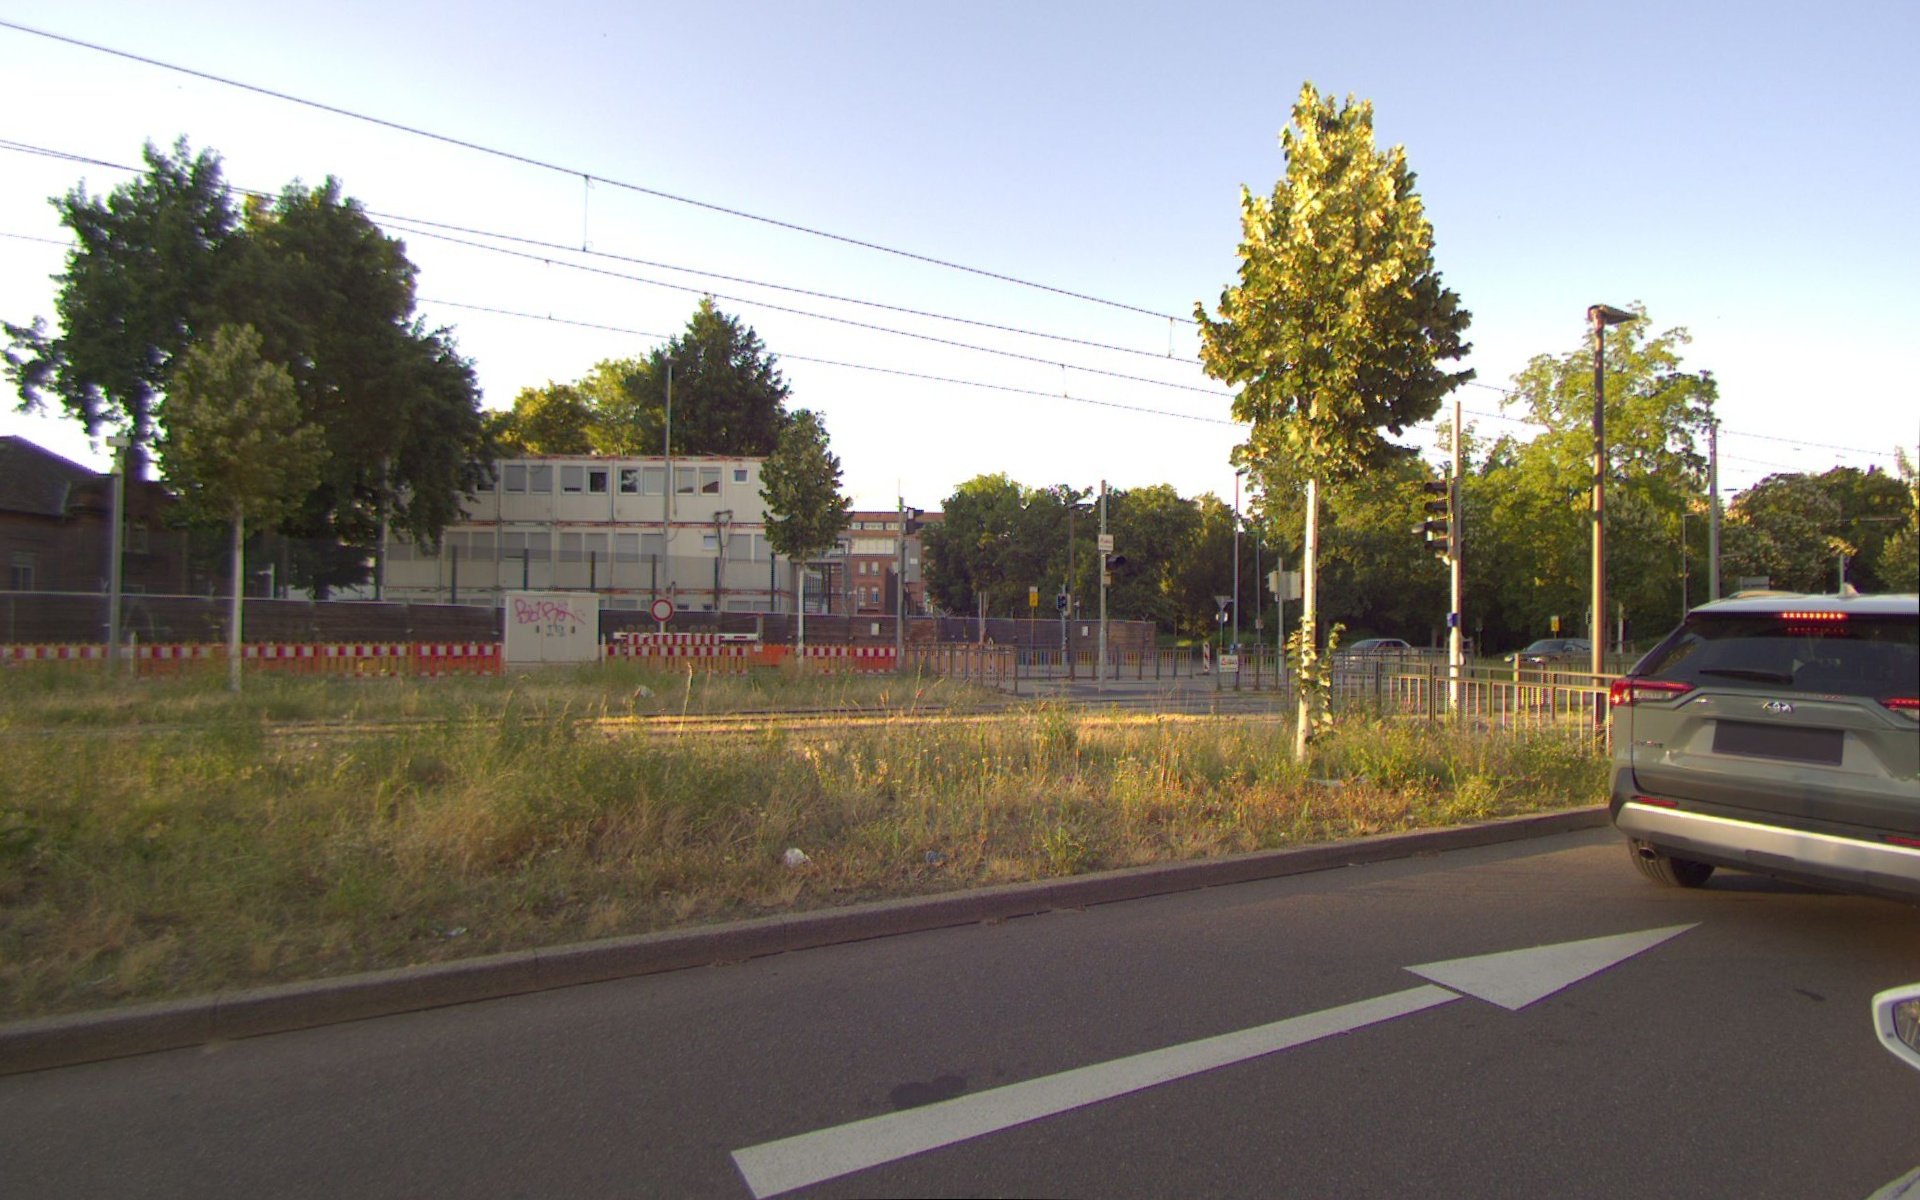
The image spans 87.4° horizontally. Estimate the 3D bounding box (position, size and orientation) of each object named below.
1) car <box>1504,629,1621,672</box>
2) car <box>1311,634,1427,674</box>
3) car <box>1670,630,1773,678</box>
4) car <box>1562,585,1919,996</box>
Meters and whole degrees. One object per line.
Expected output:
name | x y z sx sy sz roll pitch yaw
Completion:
car | 23.827 1.964 39.693 4.466 1.501 1.985 0 0 -28
car | 17.079 2.226 41.900 4.459 1.501 1.988 0 0 -24
car | 37.821 2.625 49.917 4.681 2.197 1.989 0 0 -22
car | 5.491 0.788 5.635 4.218 1.681 1.846 0 0 -30
